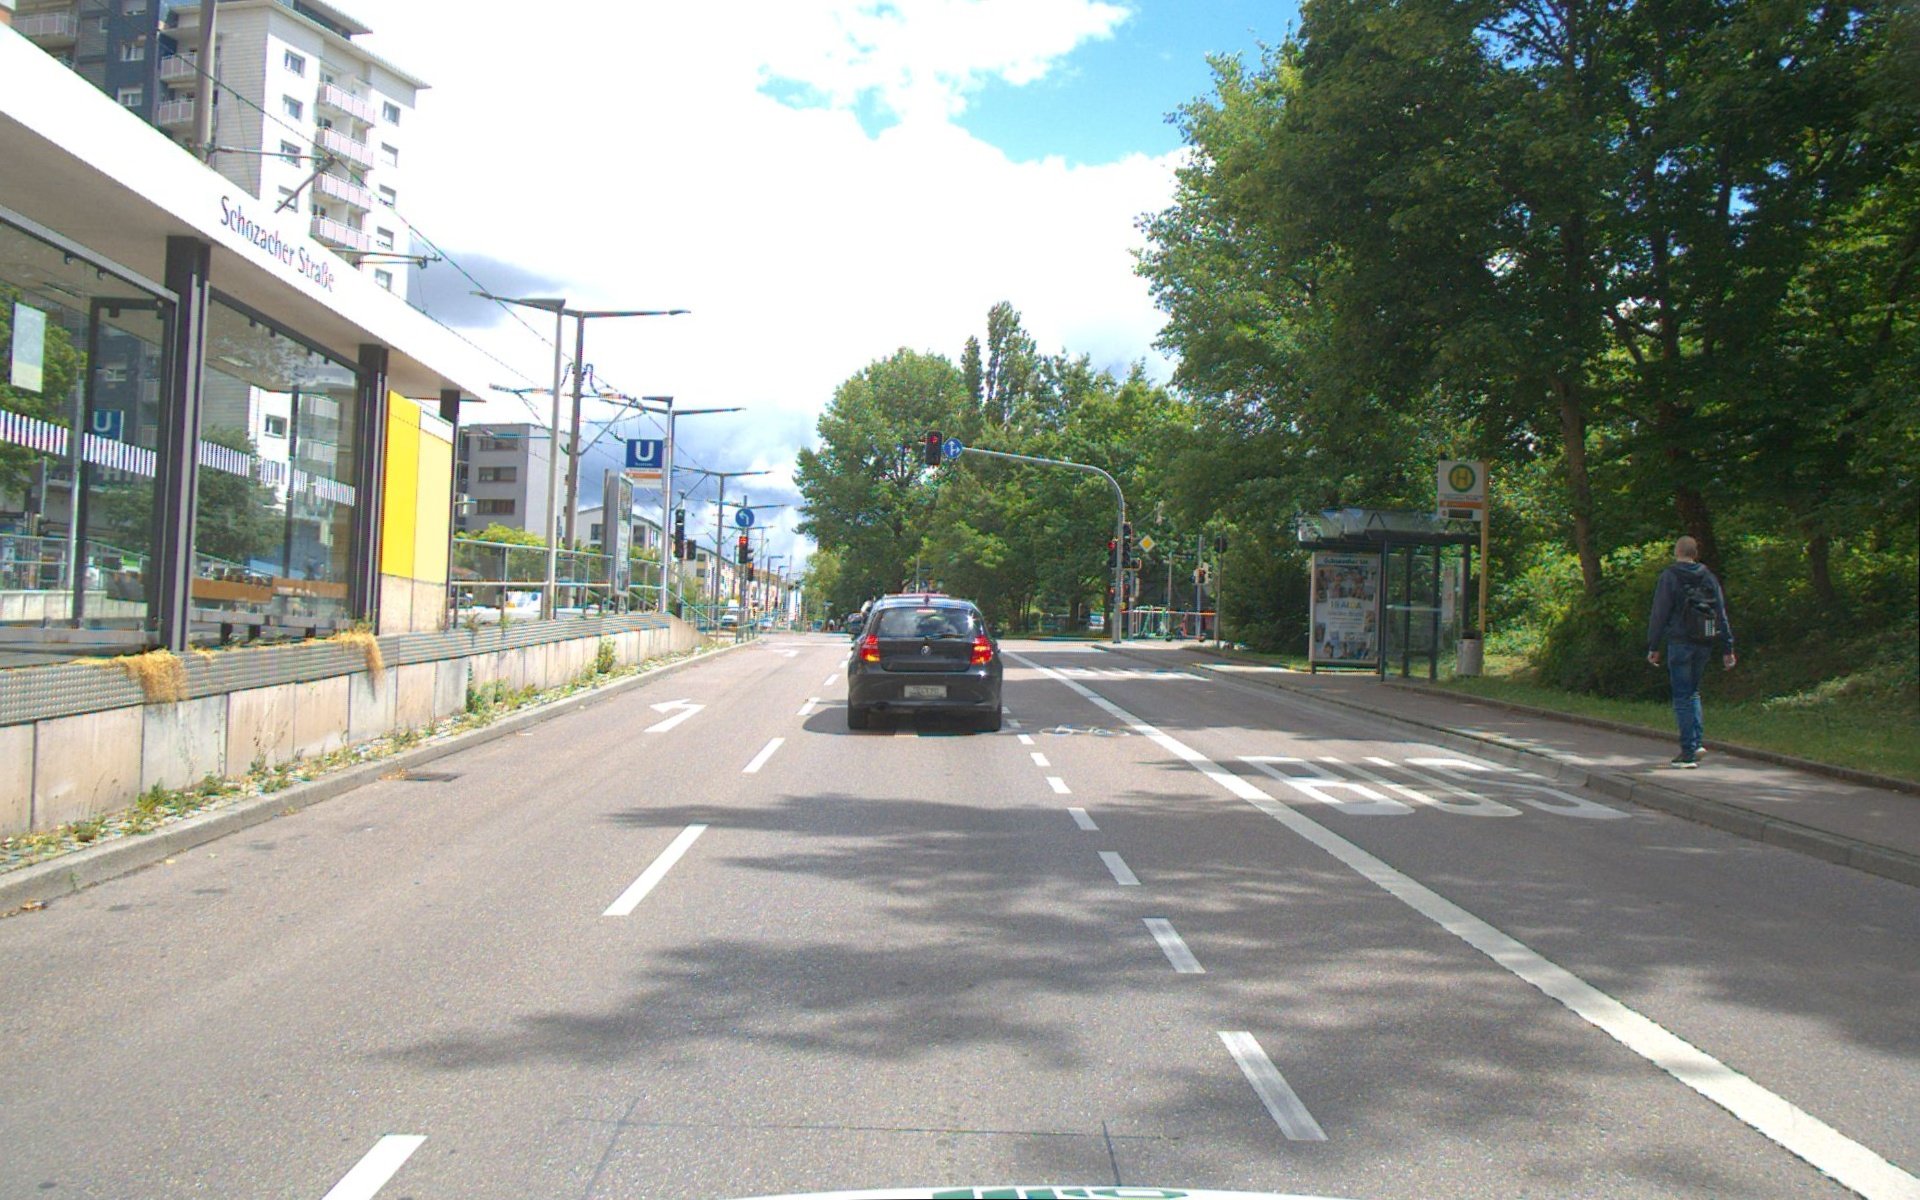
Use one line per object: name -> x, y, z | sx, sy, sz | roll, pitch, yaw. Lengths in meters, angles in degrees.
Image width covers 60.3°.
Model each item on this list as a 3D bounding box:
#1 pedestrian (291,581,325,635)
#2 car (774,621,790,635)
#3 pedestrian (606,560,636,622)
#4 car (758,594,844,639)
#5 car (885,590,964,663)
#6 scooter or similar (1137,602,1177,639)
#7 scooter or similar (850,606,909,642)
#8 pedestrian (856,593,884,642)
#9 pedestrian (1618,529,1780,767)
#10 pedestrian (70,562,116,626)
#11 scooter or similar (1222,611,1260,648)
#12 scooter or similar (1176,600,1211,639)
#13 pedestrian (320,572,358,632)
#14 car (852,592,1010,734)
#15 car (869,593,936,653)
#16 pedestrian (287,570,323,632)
pedestrian -> -16.729, 0.192, 42.429 | 0.656, 1.366, 0.551 | 1, 0, 41
car -> -22.974, 3.597, 213.760 | 1.928, 1.624, 3.997 | 1, 0, -4
pedestrian -> -9.178, -0.253, 44.754 | 0.687, 1.661, 0.638 | 0, 0, -2
car -> -7.557, 0.789, 78.602 | 3.663, 2.049, 1.799 | 2, -1, -25
car -> -0.740, 0.526, 35.125 | 1.562, 1.443, 3.516 | 1, 0, -1
scooter or similar -> 6.520, 0.673, 54.803 | 1.267, 1.210, 0.383 | 1, 0, -18
scooter or similar -> -2.451, 0.727, 50.316 | 1.752, 1.069, 0.408 | 1, 0, -18
pedestrian -> -2.771, 0.531, 50.882 | 0.848, 1.468, 0.798 | 1, 0, -3
pedestrian -> 6.319, 0.393, 14.217 | 0.785, 1.928, 1.270 | 1, 0, -1
pedestrian -> -23.450, -0.161, 44.741 | 0.839, 1.726, 0.690 | 1, 0, 15
scooter or similar -> 8.572, 0.905, 50.408 | 1.134, 1.118, 0.329 | 1, 0, -25
scooter or similar -> 7.865, 0.663, 55.709 | 1.088, 1.280, 0.331 | 1, 0, -14
pedestrian -> -16.745, 0.057, 44.609 | 0.842, 1.605, 0.622 | 1, 0, -10
car -> -0.292, 0.650, 18.959 | 1.620, 1.443, 3.517 | 1, 0, 0
car -> -1.507, 0.559, 42.186 | 1.621, 1.443, 3.515 | 1, 0, -3
pedestrian -> -17.204, 0.020, 43.439 | 0.595, 1.611, 0.775 | 1, 0, 2
